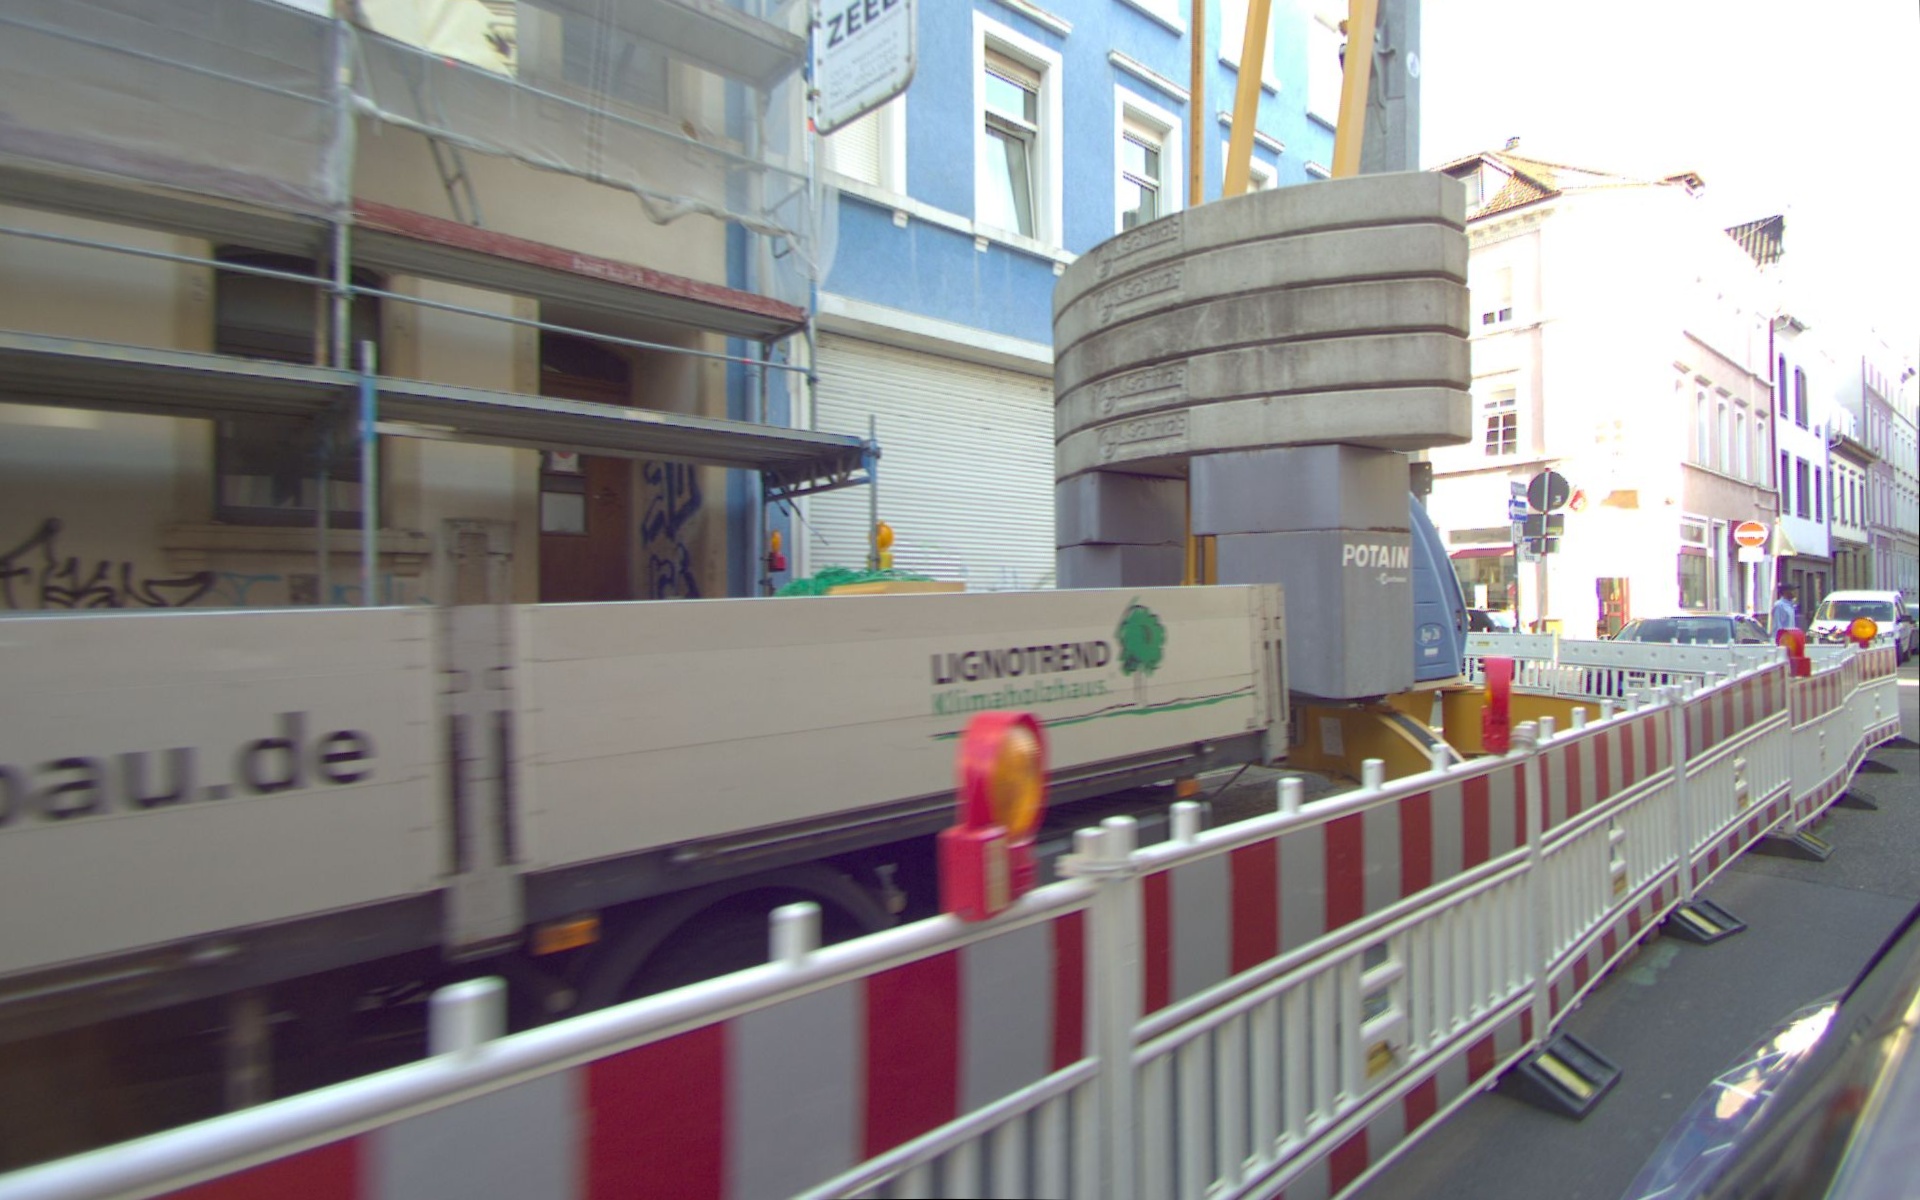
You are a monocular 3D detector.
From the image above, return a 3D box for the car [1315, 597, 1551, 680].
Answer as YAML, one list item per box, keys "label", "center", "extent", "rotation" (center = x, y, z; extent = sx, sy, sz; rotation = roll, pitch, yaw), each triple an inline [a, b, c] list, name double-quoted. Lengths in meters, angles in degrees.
- label: "car"
  center: [9.219, 0.729, 19.963]
  extent: [1.647, 1.472, 3.874]
  rotation: [0, -2, -40]

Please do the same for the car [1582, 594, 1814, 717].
- label: "car"
  center: [10.408, 0.686, 14.174]
  extent: [3.964, 1.452, 1.774]
  rotation: [-1, -2, -42]

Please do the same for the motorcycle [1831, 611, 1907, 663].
- label: "motorcycle"
  center: [20.891, 0.823, 23.244]
  extent: [1.957, 1.100, 0.722]
  rotation: [-1, 0, -30]

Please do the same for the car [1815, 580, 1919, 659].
- label: "car"
  center: [23.311, 0.413, 25.781]
  extent: [4.294, 1.839, 1.751]
  rotation: [-1, 1, -41]

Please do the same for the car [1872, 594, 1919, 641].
- label: "car"
  center: [31.327, 0.549, 33.159]
  extent: [3.814, 1.413, 1.734]
  rotation: [-1, 1, -41]

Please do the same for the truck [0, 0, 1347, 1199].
- label: "truck"
  center: [-2.248, 0.094, 2.373]
  extent: [7.264, 2.850, 2.665]
  rotation: [-1, -2, -41]

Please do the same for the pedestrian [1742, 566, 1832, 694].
- label: "pedestrian"
  center: [12.539, 0.450, 15.351]
  extent: [0.765, 1.873, 0.772]
  rotation: [-1, -2, -33]

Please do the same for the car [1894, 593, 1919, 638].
- label: "car"
  center: [34.678, 0.523, 36.097]
  extent: [3.707, 1.523, 1.618]
  rotation: [-1, 1, -41]

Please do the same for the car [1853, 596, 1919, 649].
- label: "car"
  center: [27.727, 0.610, 29.876]
  extent: [3.814, 1.426, 1.611]
  rotation: [-1, 1, -41]

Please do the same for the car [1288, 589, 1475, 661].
- label: "car"
  center: [10.921, 0.642, 26.443]
  extent: [1.824, 1.653, 4.066]
  rotation: [-3, 0, -40]

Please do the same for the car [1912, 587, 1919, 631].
- label: "car"
  center: [40.413, 0.355, 41.429]
  extent: [4.332, 1.752, 1.712]
  rotation: [-1, 1, -41]
